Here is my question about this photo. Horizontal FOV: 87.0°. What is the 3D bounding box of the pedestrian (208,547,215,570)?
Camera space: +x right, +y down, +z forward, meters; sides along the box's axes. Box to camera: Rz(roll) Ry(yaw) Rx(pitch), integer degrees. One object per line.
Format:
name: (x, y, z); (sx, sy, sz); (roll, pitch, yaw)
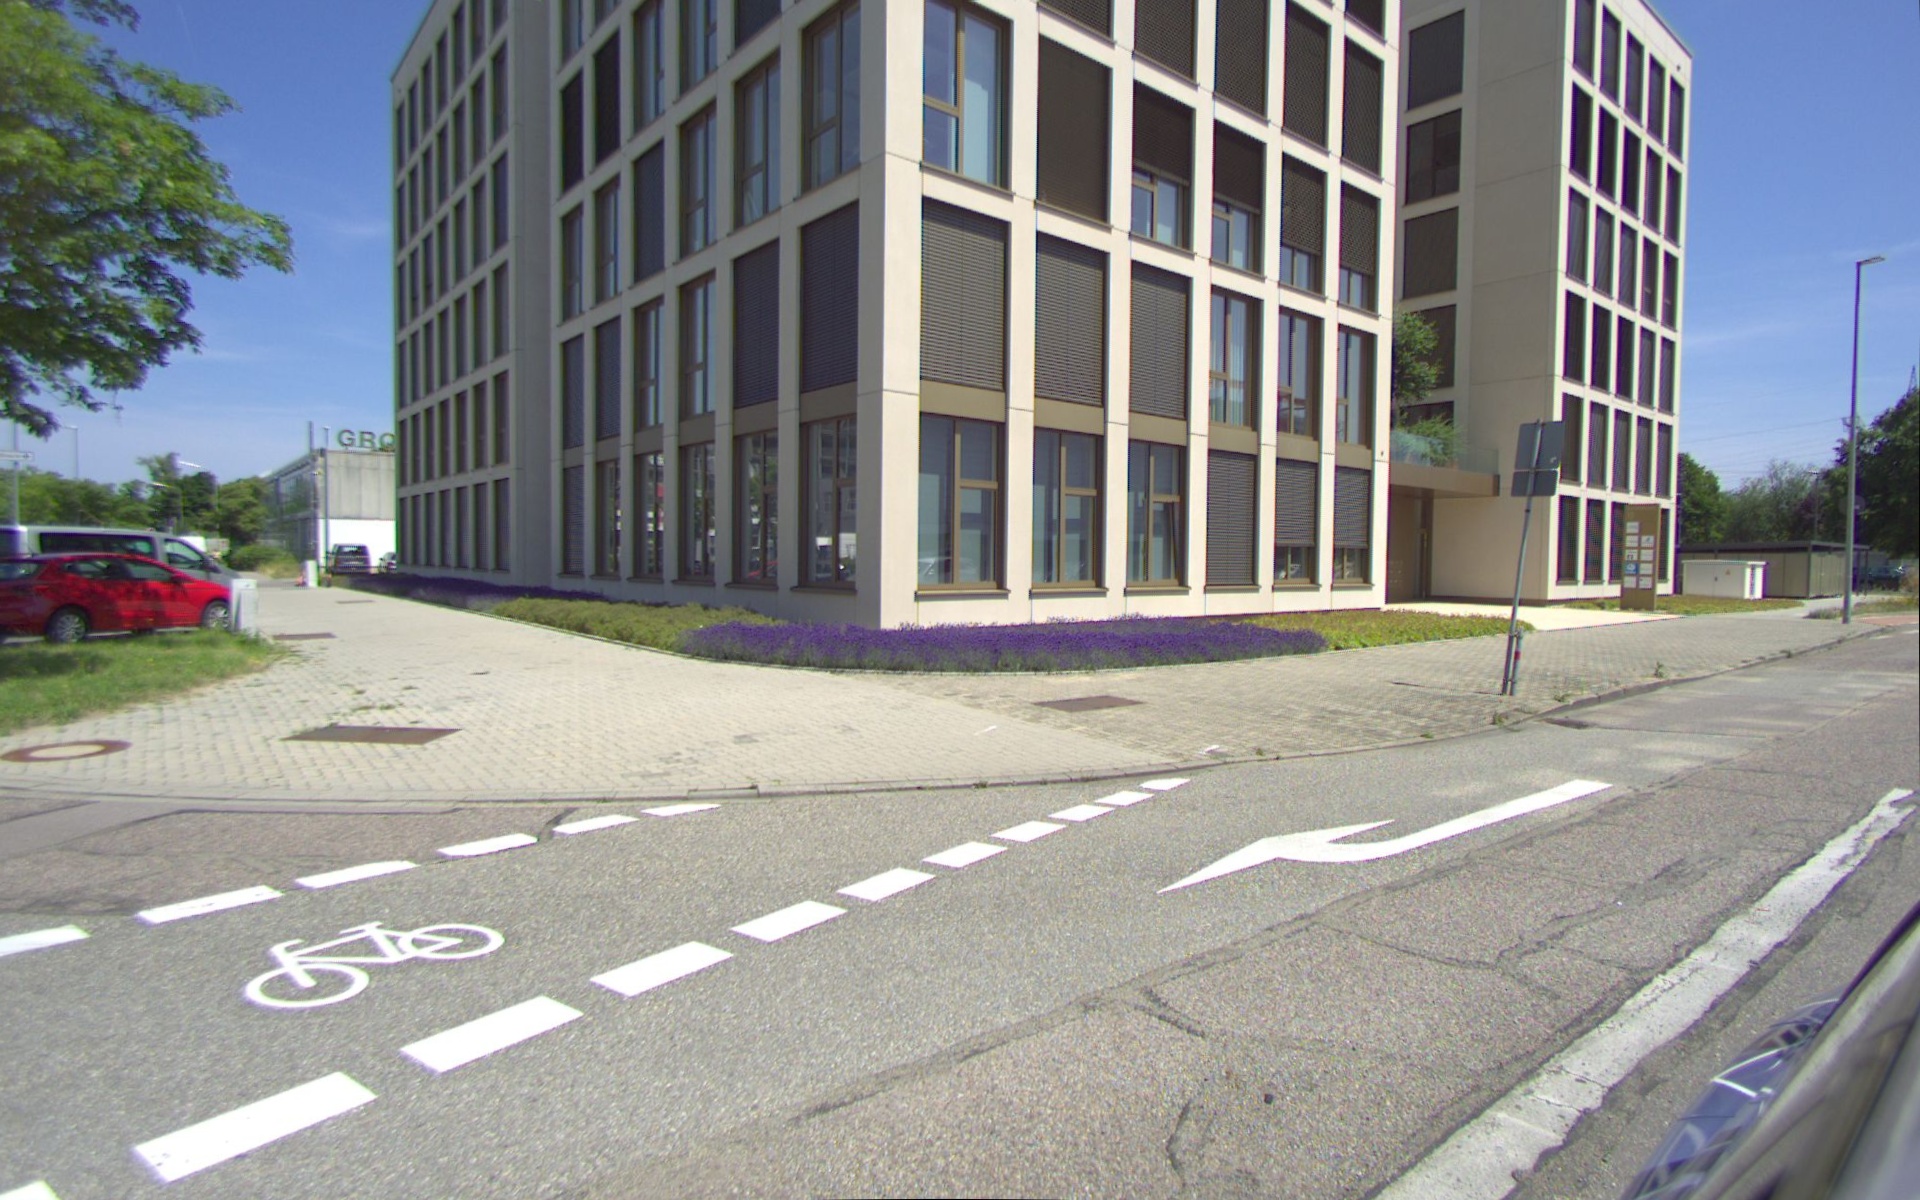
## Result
pedestrian: (-51.837, -2.857, 70.089); (0.397, 1.578, 0.549); (-1, 2, -39)

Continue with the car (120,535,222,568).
car: (-65.099, -3.956, 83.682); (6.573, 2.552, 2.217); (-1, 1, -38)

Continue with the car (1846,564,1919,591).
car: (55.332, -1.356, 60.190); (3.810, 1.571, 1.716); (2, 3, 37)

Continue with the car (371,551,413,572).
car: (-34.443, -2.331, 61.343); (1.664, 1.171, 3.997); (-1, 1, -38)

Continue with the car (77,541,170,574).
car: (-53.442, -2.673, 64.730); (4.495, 2.039, 1.998); (-1, 1, -39)

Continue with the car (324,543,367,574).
car: (-36.401, -2.430, 59.908); (1.763, 1.749, 3.997); (-1, 1, -37)

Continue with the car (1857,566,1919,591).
car: (57.030, -1.315, 61.314); (3.810, 1.411, 1.716); (2, 3, 37)

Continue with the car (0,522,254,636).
car: (-16.509, -0.439, 19.638); (1.886, 1.910, 4.927); (1, 2, 5)

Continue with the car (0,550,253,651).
car: (-14.139, -0.093, 16.732); (1.672, 1.449, 3.990); (0, 3, 10)
